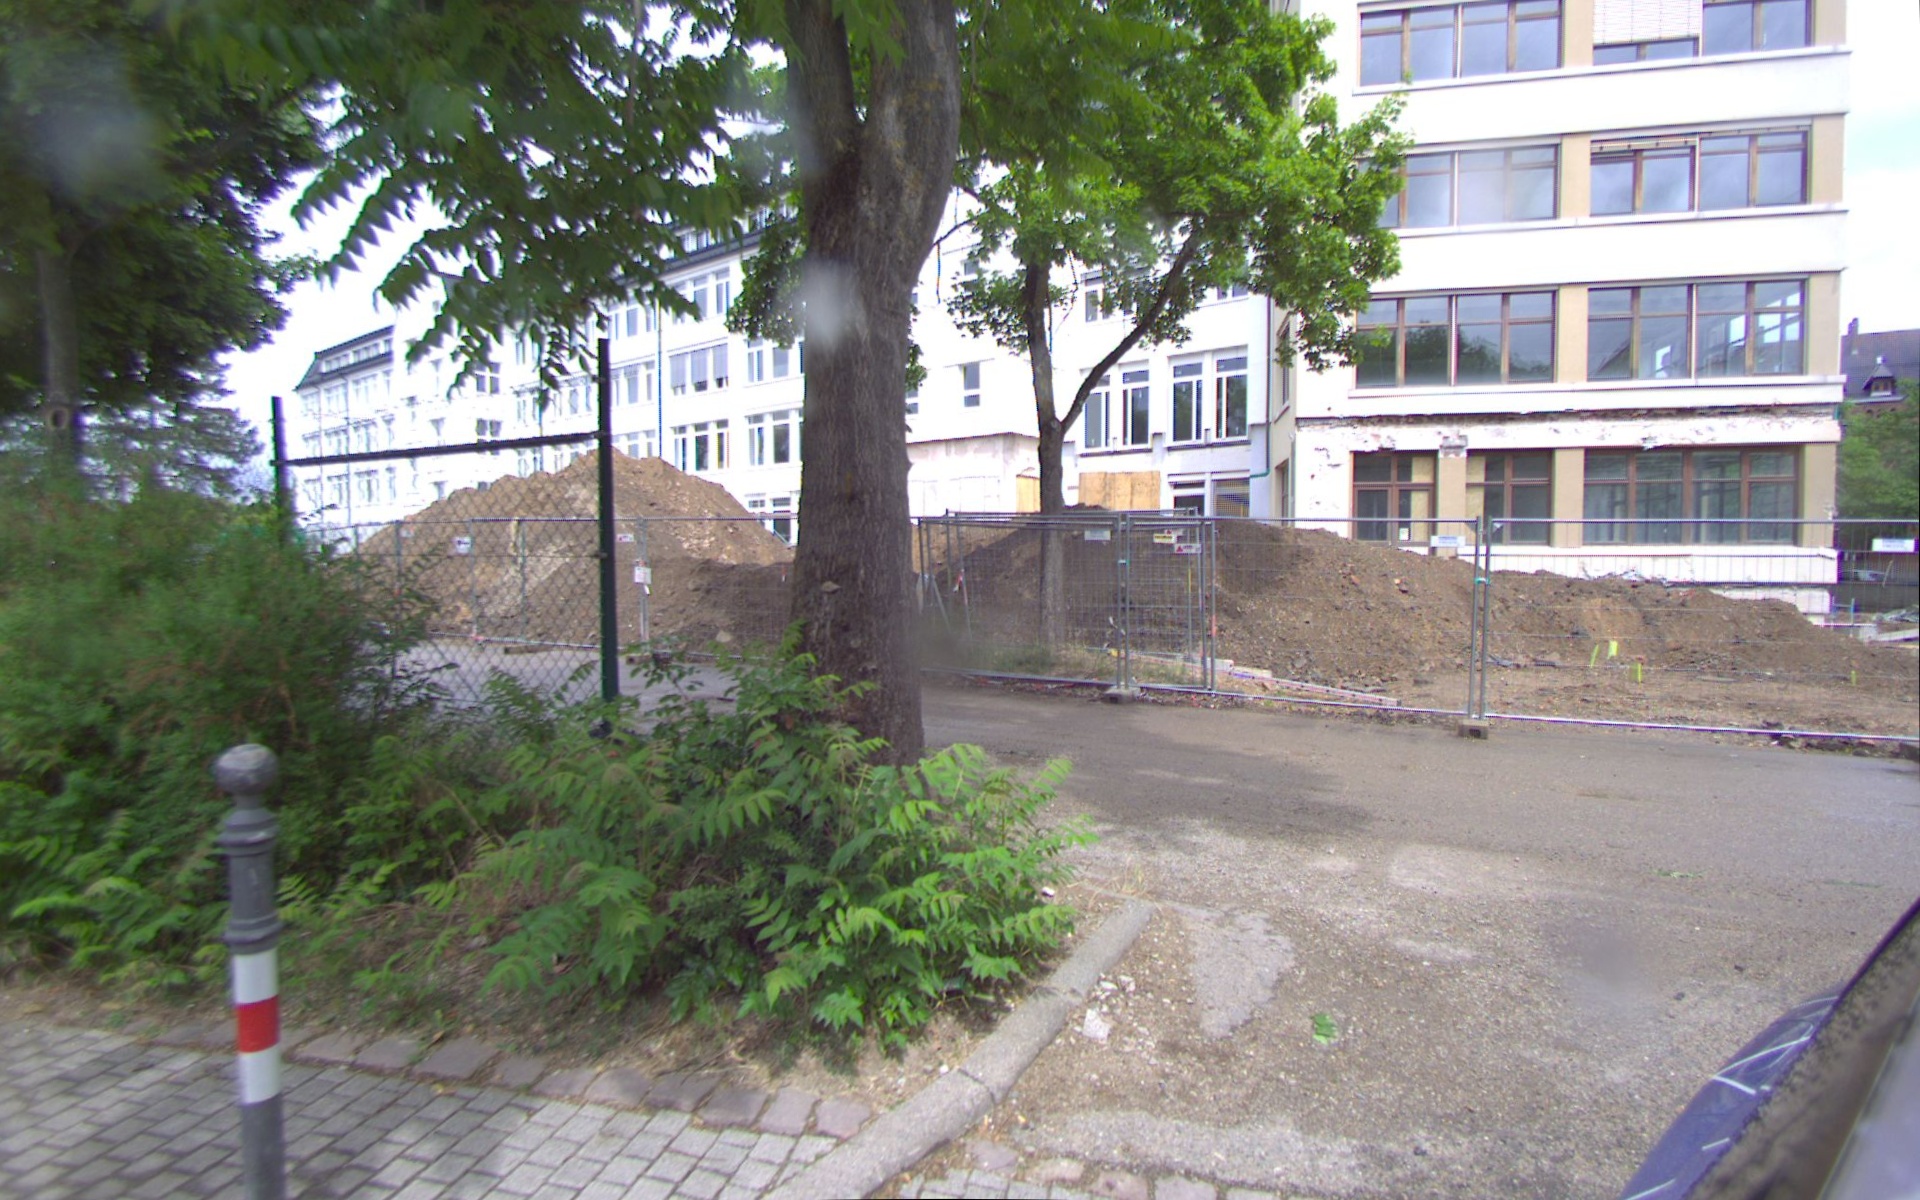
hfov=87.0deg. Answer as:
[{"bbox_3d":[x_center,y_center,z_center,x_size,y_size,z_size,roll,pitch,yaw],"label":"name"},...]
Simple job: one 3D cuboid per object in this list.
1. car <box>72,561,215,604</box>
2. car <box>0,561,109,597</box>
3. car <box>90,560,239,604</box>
[{"bbox_3d":[-29.215,-0.649,36.273,1.830,1.394,3.681,-1,2,39],"label":"car"},{"bbox_3d":[-43.077,-1.013,48.132,1.830,1.620,3.681,-1,2,39],"label":"car"},{"bbox_3d":[-27.190,-0.634,34.659,1.830,1.394,3.681,-1,2,39],"label":"car"}]
